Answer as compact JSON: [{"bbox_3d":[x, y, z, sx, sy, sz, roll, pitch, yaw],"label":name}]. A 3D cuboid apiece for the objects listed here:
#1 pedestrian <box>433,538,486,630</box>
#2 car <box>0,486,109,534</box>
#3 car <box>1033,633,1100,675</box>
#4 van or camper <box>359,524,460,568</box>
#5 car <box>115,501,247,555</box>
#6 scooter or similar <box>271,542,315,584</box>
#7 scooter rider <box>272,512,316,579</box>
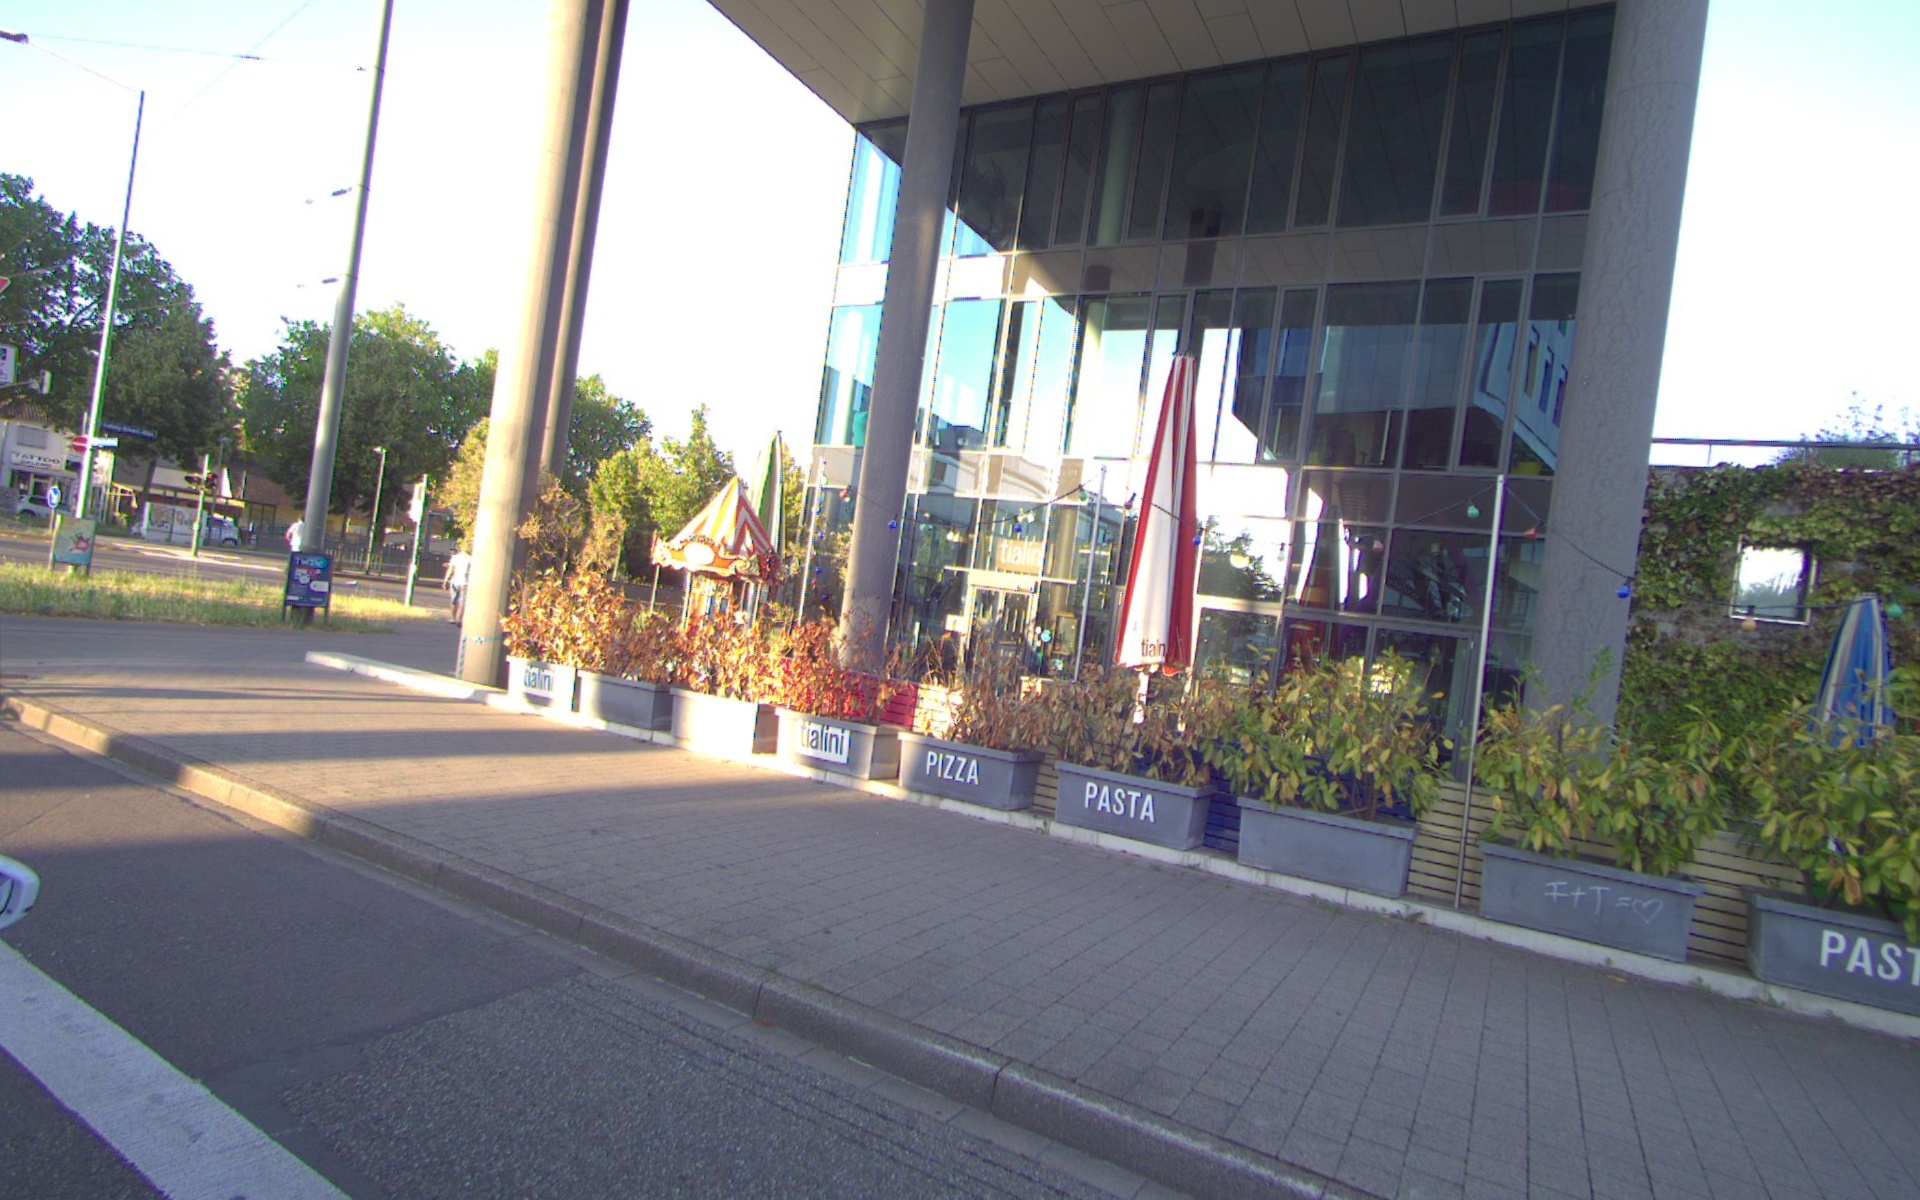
[{"bbox_3d":[-10.482,-0.338,21.062,0.755,1.812,0.796,8,-1,-28],"label":"pedestrian"},{"bbox_3d":[-50.543,-4.997,56.068,1.968,1.868,4.236,7,-2,34],"label":"car"},{"bbox_3d":[6.030,3.062,56.461,1.826,1.849,4.390,10,0,31],"label":"car"},{"bbox_3d":[-43.919,-4.283,80.405,2.229,2.438,6.569,7,-2,36],"label":"van or camper"},{"bbox_3d":[-37.379,-3.413,48.428,1.829,1.748,4.547,7,-2,27],"label":"car"},{"bbox_3d":[-19.848,-1.107,29.936,1.222,1.103,0.511,7,-1,32],"label":"scooter or similar"},{"bbox_3d":[-19.860,-1.612,30.000,0.658,1.876,0.703,7,-1,31],"label":"scooter rider"}]
